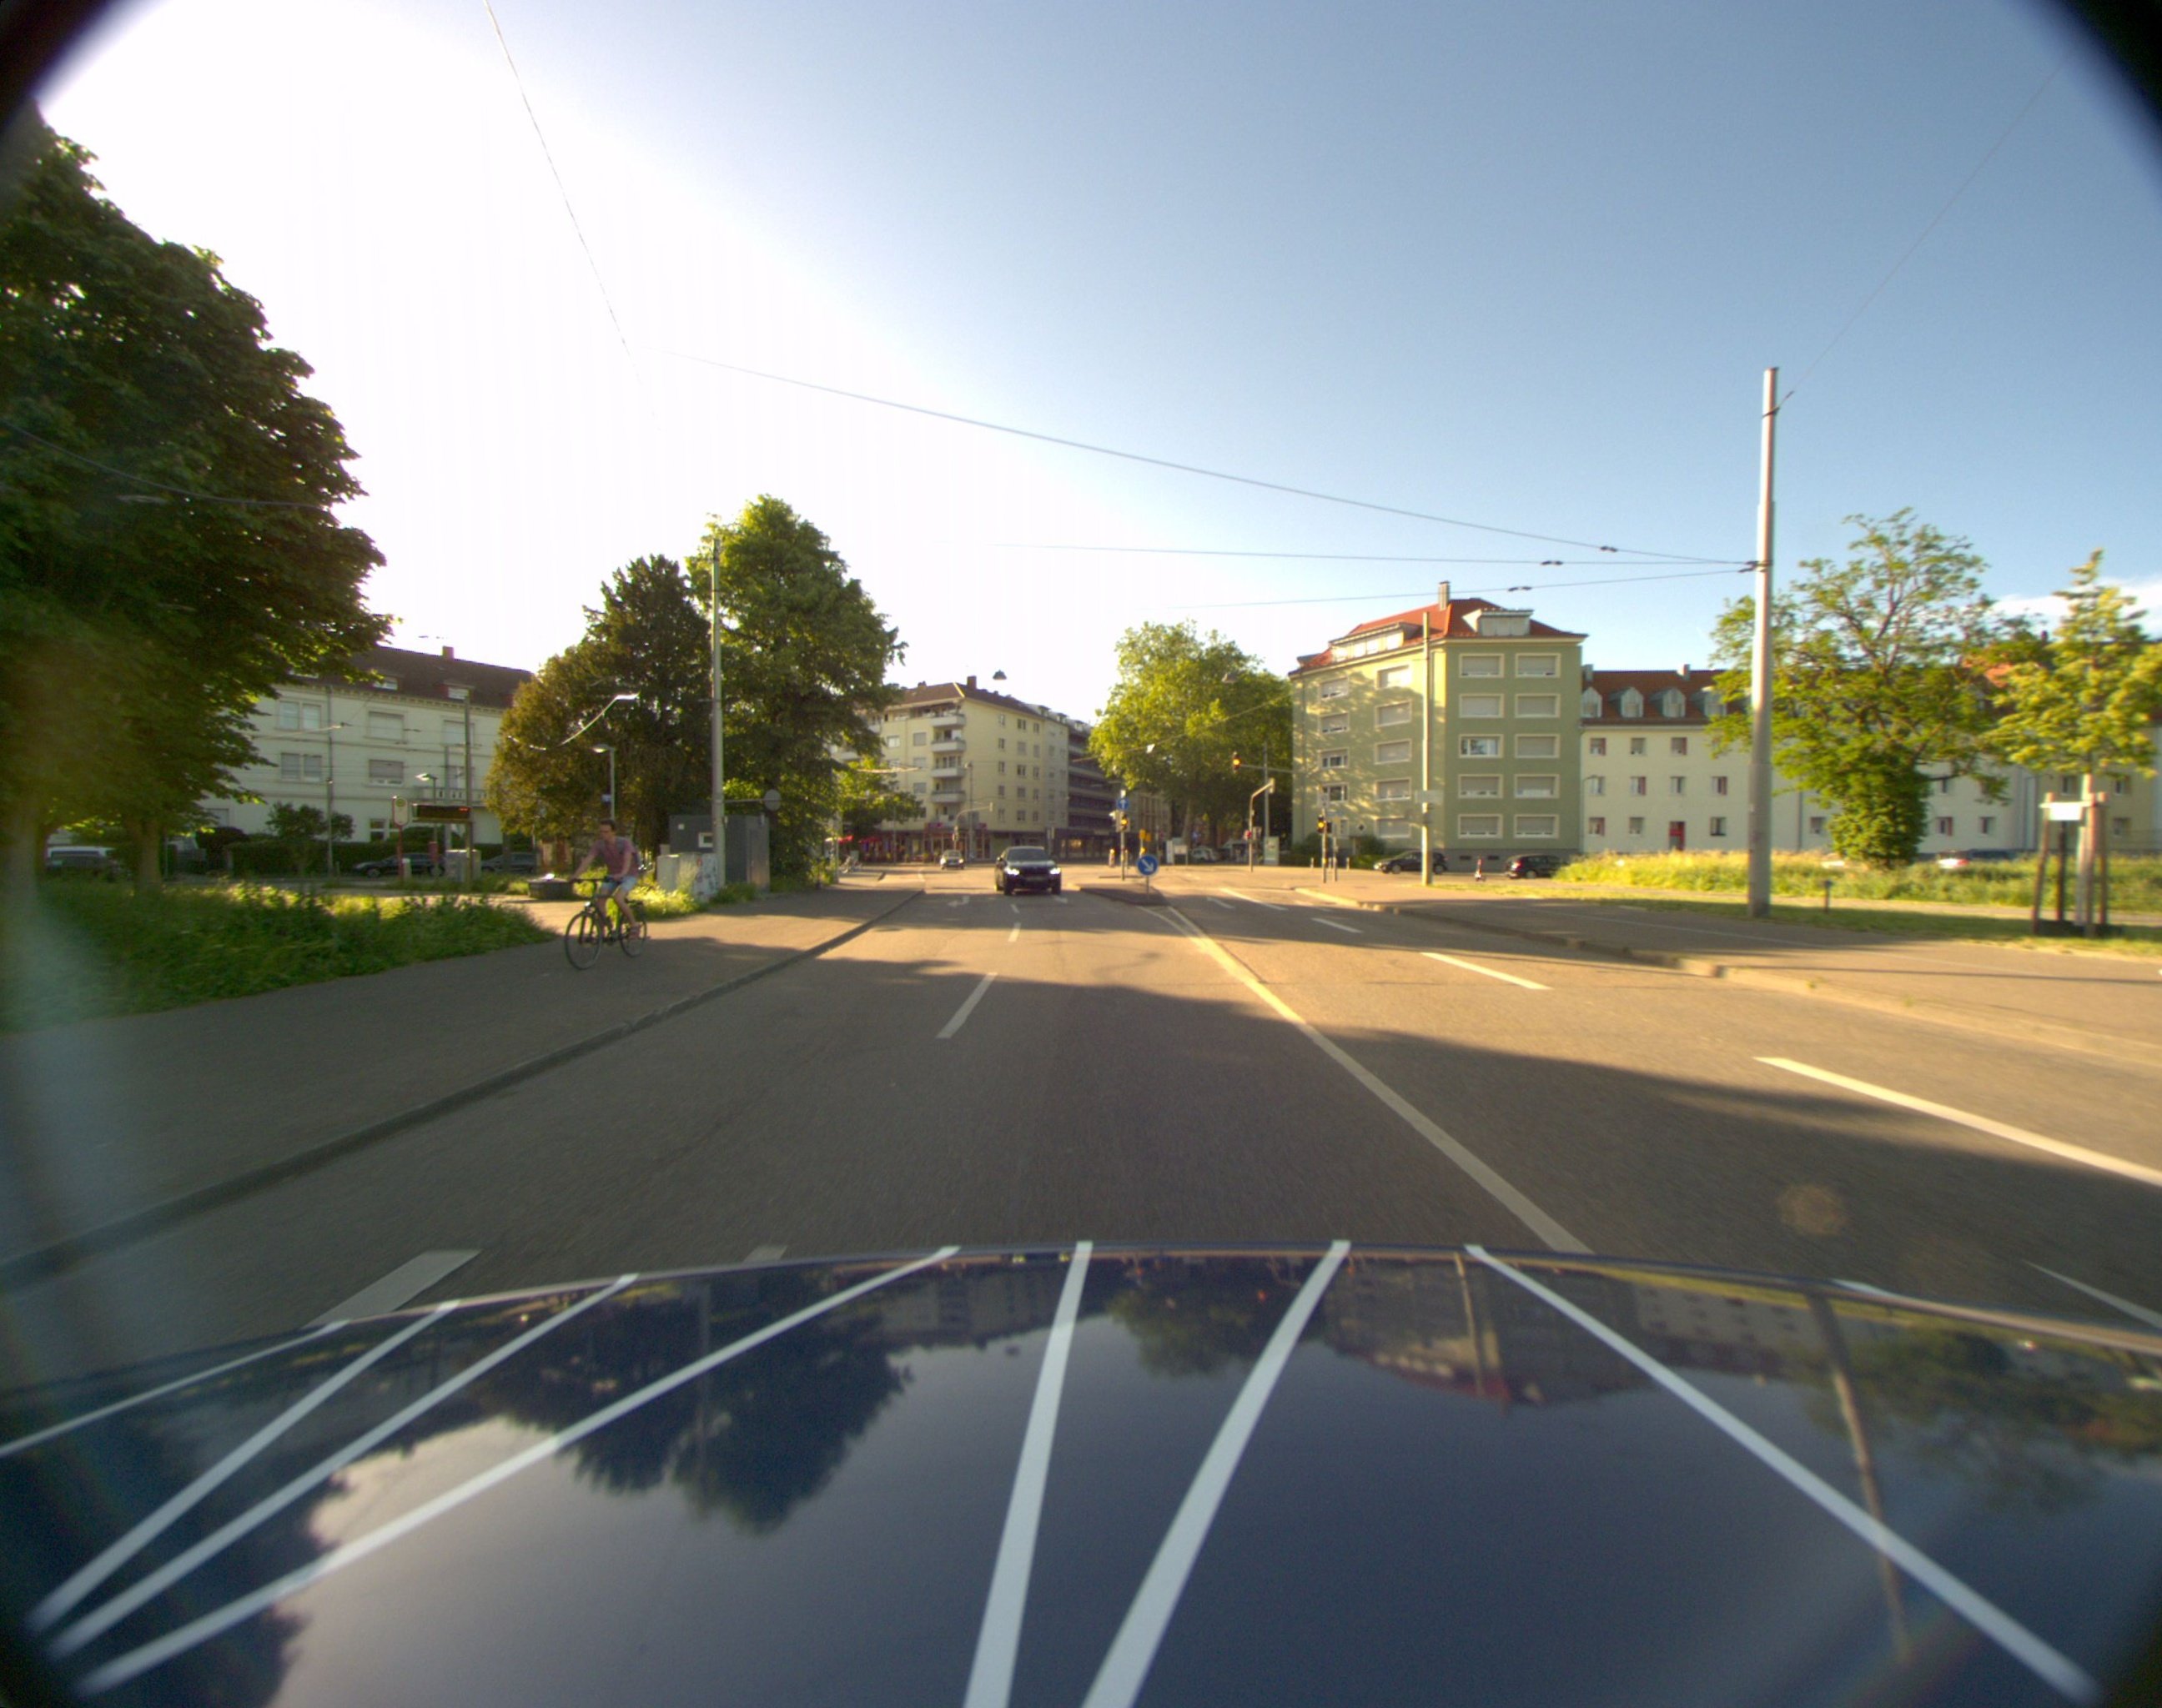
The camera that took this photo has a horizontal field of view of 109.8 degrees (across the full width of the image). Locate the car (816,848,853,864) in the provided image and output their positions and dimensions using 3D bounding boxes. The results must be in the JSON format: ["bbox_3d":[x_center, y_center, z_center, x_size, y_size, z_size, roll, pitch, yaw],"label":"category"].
[{"bbox_3d":[-25.035,0.203,77.185,1.575,1.478,3.204,-1,2,37],"label":"car"}]

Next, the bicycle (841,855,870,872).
[{"bbox_3d":[-14.365,0.601,48.428,0.626,1.120,1.810,-1,-1,34],"label":"bicycle"}]

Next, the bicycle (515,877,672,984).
[{"bbox_3d":[-6.210,0.918,9.843,0.720,1.185,2.001,1,0,1],"label":"bicycle"}]

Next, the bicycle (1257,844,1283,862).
[{"bbox_3d":[15.580,-0.133,62.623,0.776,1.372,2.046,-2,4,-35],"label":"bicycle"}]

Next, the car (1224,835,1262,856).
[{"bbox_3d":[21.090,-1.122,98.770,4.411,2.612,1.972,-1,2,22],"label":"car"}]

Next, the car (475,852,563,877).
[{"bbox_3d":[-35.737,0.639,48.376,4.194,1.337,1.994,-4,2,-45],"label":"car"}]

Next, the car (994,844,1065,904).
[{"bbox_3d":[-1.982,0.625,27.957,1.943,1.923,4.518,-3,2,-12],"label":"car"}]

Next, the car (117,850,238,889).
[{"bbox_3d":[-51.438,0.840,43.393,4.194,1.908,1.994,-4,2,-45],"label":"car"}]

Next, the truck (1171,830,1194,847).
[{"bbox_3d":[18.012,-2.776,134.784,2.339,2.956,8.041,-1,2,20],"label":"truck"}]

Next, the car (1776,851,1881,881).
[{"bbox_3d":[39.521,0.642,40.230,3.900,1.520,1.701,0,-3,-2],"label":"car"}]

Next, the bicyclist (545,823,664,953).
[{"bbox_3d":[-6.169,0.417,9.909,0.813,1.590,1.149,1,0,1],"label":"bicyclist"}]

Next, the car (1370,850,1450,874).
[{"bbox_3d":[20.627,0.493,47.740,4.204,1.484,1.943,0,-1,2],"label":"car"}]

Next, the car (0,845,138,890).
[{"bbox_3d":[-49.434,0.604,36.837,4.340,1.953,1.904,-4,2,-44],"label":"car"}]

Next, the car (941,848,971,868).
[{"bbox_3d":[-9.452,0.288,57.698,1.702,1.432,3.646,-1,-1,-1],"label":"car"}]

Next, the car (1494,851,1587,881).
[{"bbox_3d":[24.362,0.666,40.346,3.900,1.520,1.701,0,-3,-2],"label":"car"}]

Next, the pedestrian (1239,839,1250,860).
[{"bbox_3d":[15.195,-0.421,70.564,0.695,1.953,0.929,-1,2,31],"label":"pedestrian"}]

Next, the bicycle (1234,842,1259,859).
[{"bbox_3d":[15.041,-0.358,68.965,2.047,1.454,0.727,2,4,30],"label":"bicycle"}]

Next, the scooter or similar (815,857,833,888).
[{"bbox_3d":[-10.268,0.748,30.390,0.385,1.211,1.832,2,-2,-11],"label":"scooter or similar"}]

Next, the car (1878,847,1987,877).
[{"bbox_3d":[45.028,0.450,40.228,3.900,1.520,1.701,0,-3,-2],"label":"car"}]

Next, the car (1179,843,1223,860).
[{"bbox_3d":[12.338,-0.274,77.943,4.140,1.631,1.777,-1,2,22],"label":"car"}]

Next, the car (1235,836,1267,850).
[{"bbox_3d":[24.084,-1.522,107.619,3.992,1.827,1.818,-1,2,22],"label":"car"}]

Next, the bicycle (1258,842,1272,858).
[{"bbox_3d":[16.094,-0.360,66.626,0.774,1.372,2.052,0,3,2],"label":"bicycle"}]

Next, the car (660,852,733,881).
[{"bbox_3d":[-27.784,0.847,54.968,4.257,1.847,1.994,-4,2,-45],"label":"car"}]

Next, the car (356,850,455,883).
[{"bbox_3d":[-39.859,0.686,44.920,4.194,1.707,1.994,-4,2,-45],"label":"car"}]

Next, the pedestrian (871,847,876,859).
[{"bbox_3d":[-22.005,-0.119,80.664,0.384,1.269,0.494,-2,-1,4],"label":"pedestrian"}]

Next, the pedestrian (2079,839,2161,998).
[{"bbox_3d":[11.443,0.646,7.785,0.834,1.619,1.181,-2,-1,4],"label":"pedestrian"}]

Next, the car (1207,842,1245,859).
[{"bbox_3d":[16.970,-0.455,88.988,3.992,1.827,1.818,-1,2,22],"label":"car"}]

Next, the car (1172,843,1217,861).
[{"bbox_3d":[11.374,-0.201,76.070,4.140,1.631,1.777,-1,2,22],"label":"car"}]

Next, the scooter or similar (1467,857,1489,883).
[{"bbox_3d":[18.572,0.751,35.524,0.593,1.137,1.270,1,-3,42],"label":"scooter or similar"}]
